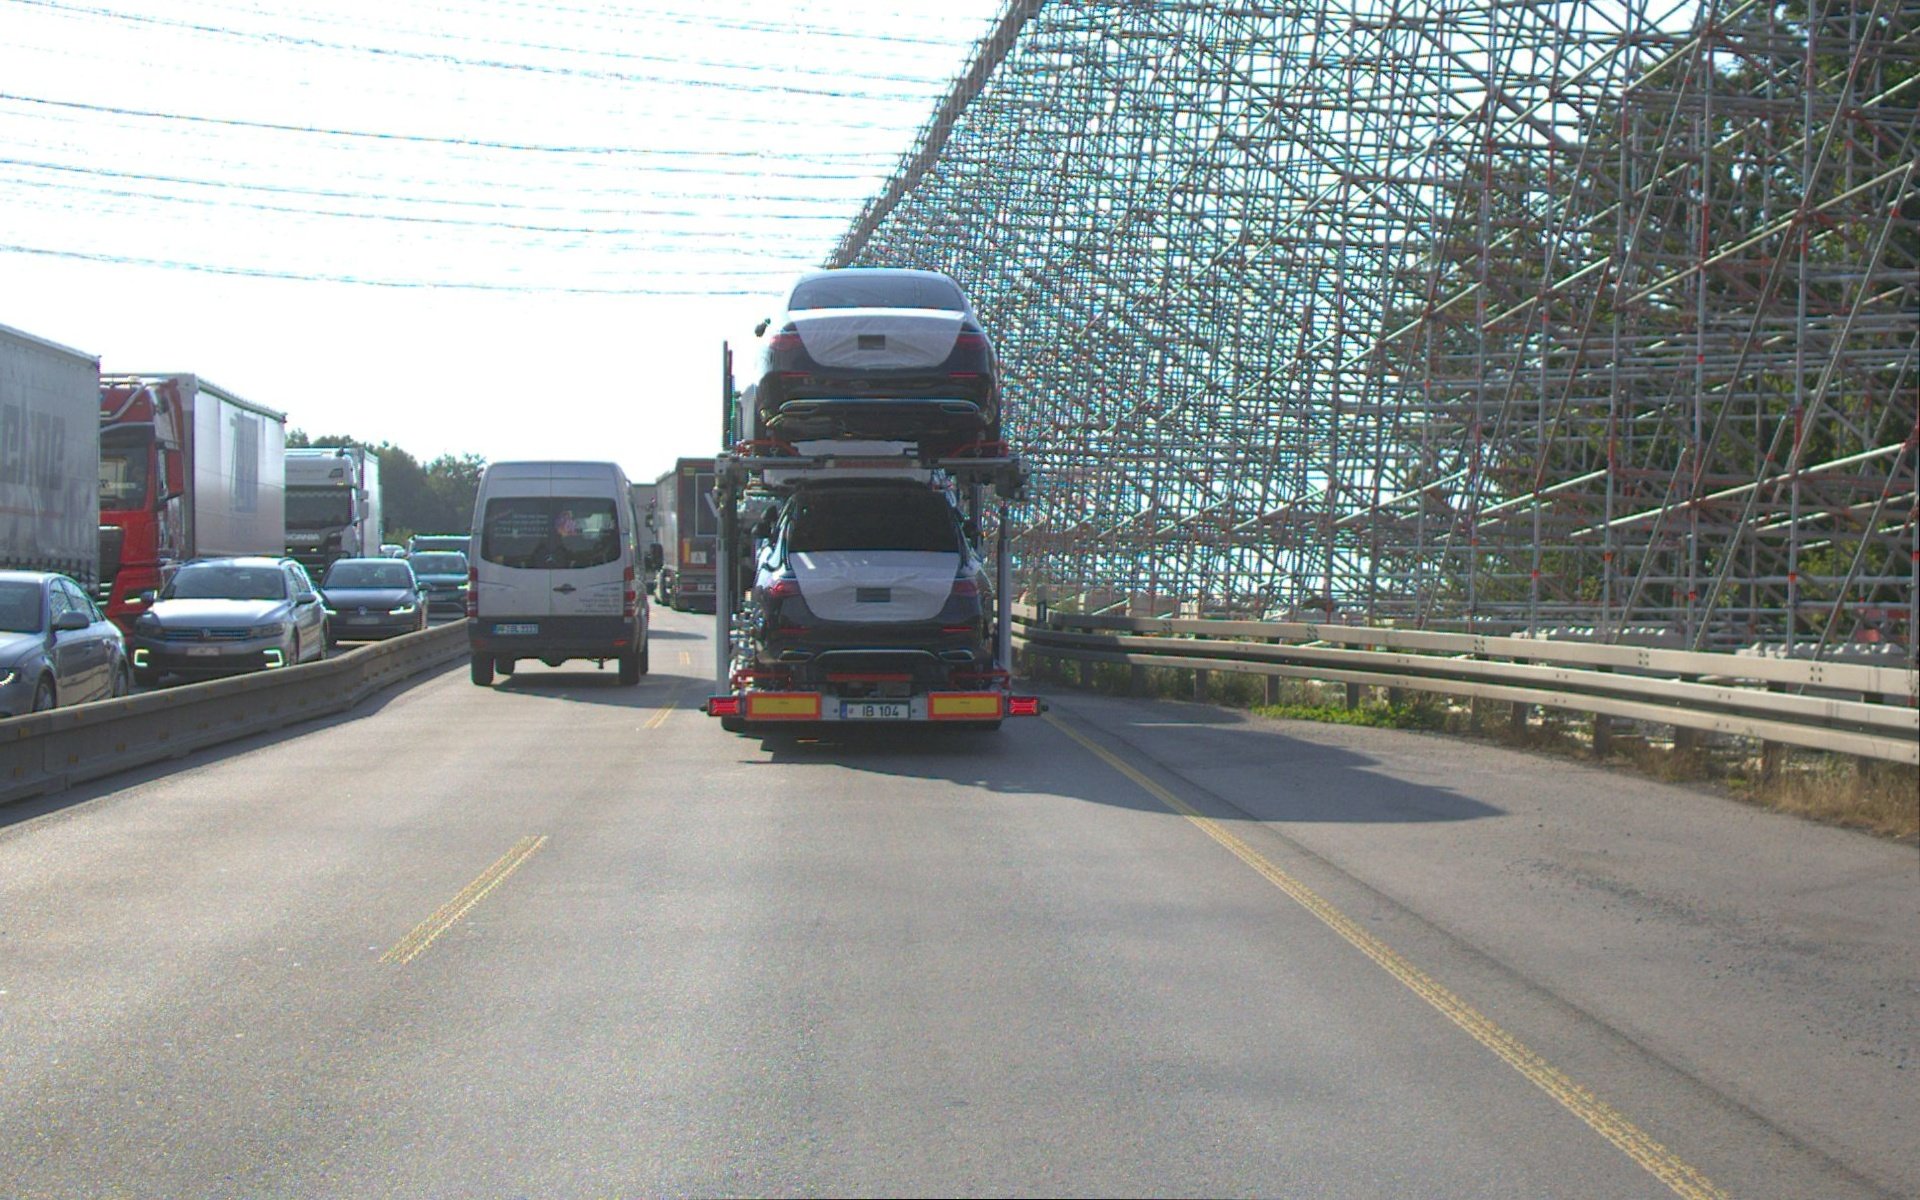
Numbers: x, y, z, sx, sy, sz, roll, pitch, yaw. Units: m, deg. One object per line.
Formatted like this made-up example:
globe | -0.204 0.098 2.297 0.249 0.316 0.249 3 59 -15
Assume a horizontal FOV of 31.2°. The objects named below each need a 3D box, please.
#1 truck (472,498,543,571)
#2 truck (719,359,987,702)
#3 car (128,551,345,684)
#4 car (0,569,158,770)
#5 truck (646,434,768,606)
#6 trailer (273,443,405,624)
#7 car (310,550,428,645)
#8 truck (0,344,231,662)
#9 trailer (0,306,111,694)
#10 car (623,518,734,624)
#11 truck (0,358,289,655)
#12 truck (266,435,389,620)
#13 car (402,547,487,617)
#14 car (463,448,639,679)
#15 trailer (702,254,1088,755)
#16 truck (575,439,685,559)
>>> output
truck | -24.022 -3.463 182.263 2.615 3.711 9.662 1 1 -14
truck | -1.411 -0.776 40.787 2.881 3.690 7.326 0 0 -4
car | -8.595 0.172 41.194 1.732 1.434 4.838 2 1 -3
car | -7.633 0.467 26.895 1.731 1.373 4.891 2 1 -2
truck | -7.026 -2.162 94.089 2.731 4.370 11.524 1 1 -7
trailer | -15.824 -1.687 88.338 2.653 4.219 13.923 1 1 -8
car | -9.685 -0.068 56.569 1.650 1.459 4.401 1 1 -7
truck | -11.943 -1.286 48.010 2.787 4.127 6.680 0 0 -6
trailer | -11.554 -1.056 35.591 2.798 4.127 13.968 0 0 -3
car | -5.493 -0.559 67.547 1.993 2.007 4.000 1 0 -2
truck | -12.669 -1.346 54.657 2.787 4.127 13.810 0 0 -6
truck | -14.919 -1.690 81.452 2.662 4.215 6.106 0 1 -8
car | -11.853 -0.437 79.287 1.742 1.529 4.268 1 1 -6
car | -4.838 -0.417 41.110 1.956 2.612 4.001 -1 0 -5
trailer | -0.925 -0.763 33.026 2.868 3.712 14.949 0 0 -3
truck | -12.775 -3.767 132.026 3.686 4.206 13.671 -3 1 -7
